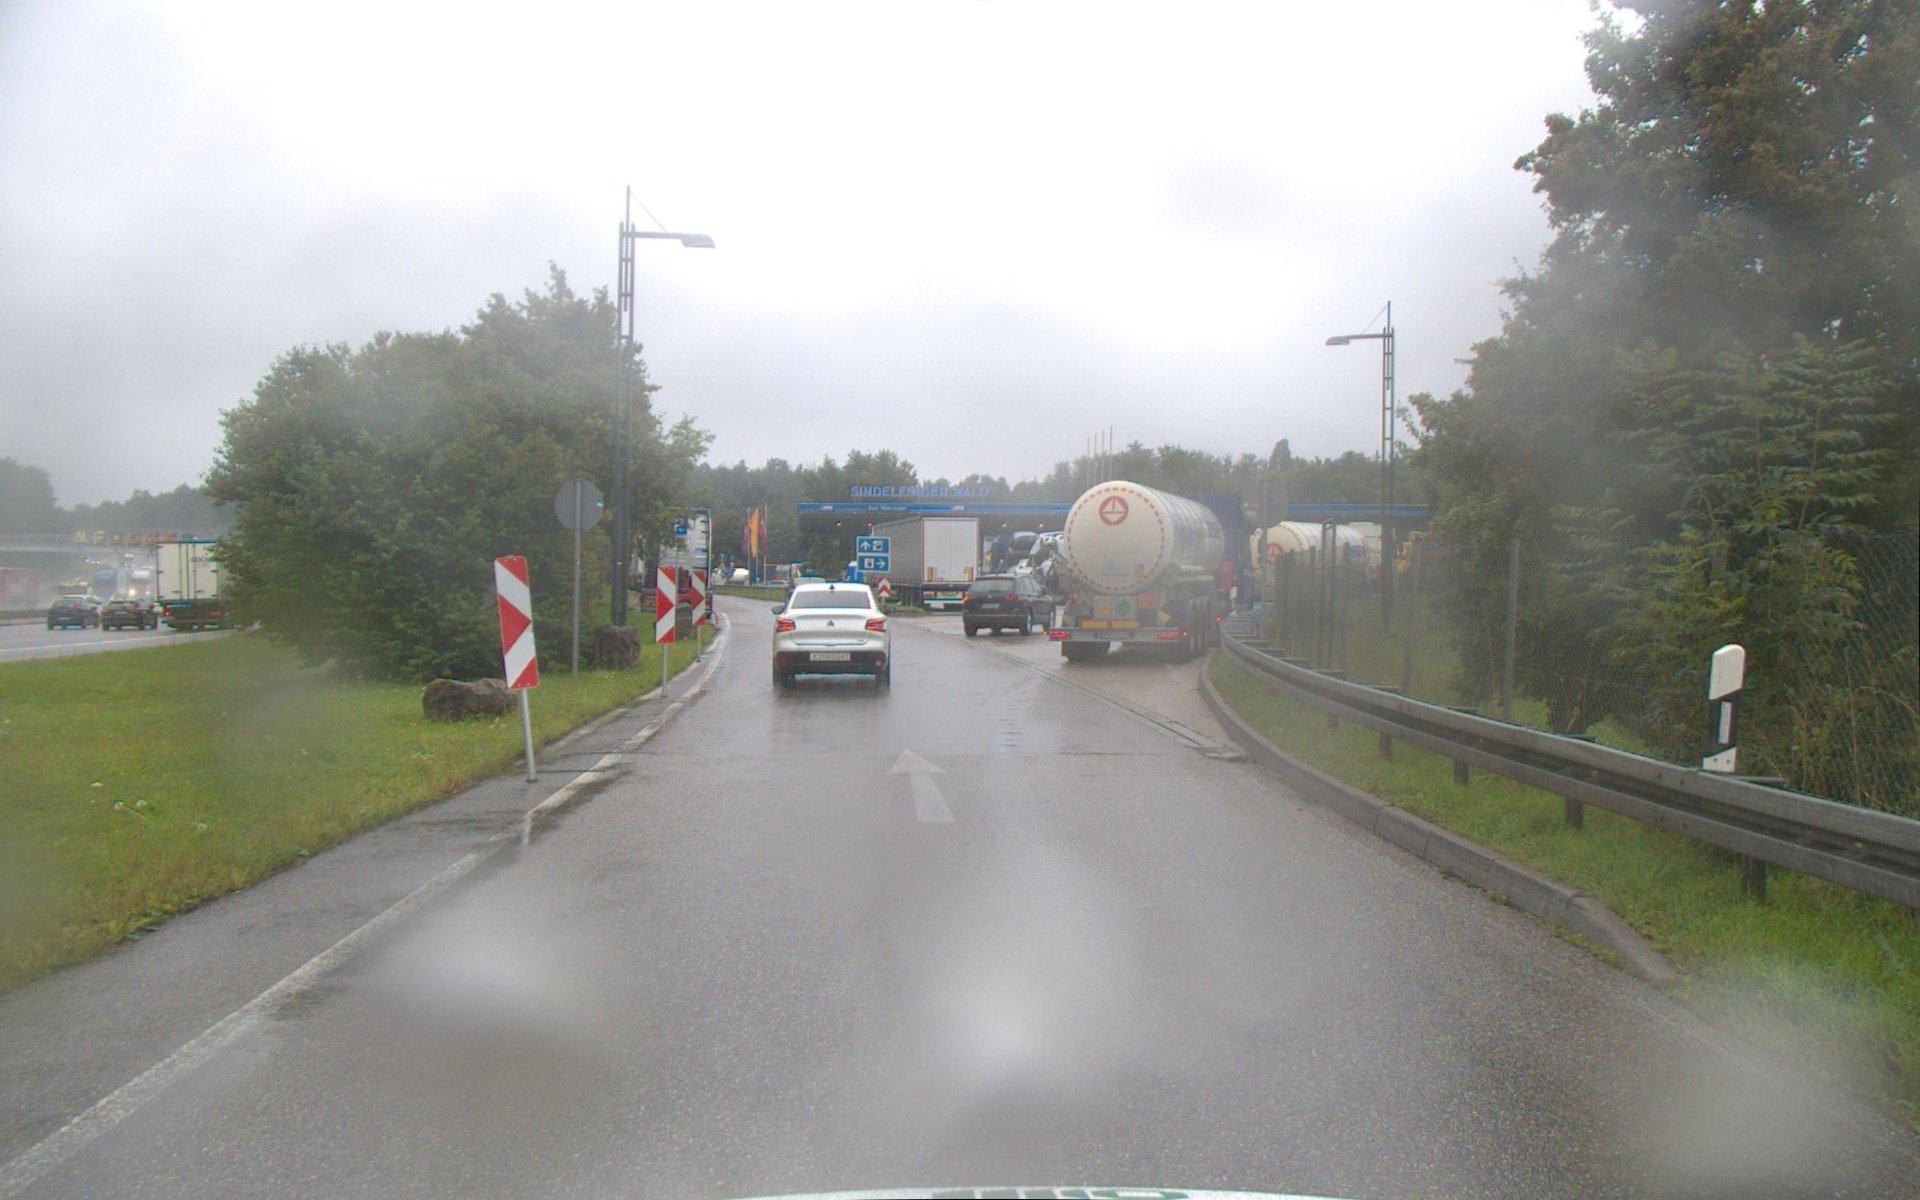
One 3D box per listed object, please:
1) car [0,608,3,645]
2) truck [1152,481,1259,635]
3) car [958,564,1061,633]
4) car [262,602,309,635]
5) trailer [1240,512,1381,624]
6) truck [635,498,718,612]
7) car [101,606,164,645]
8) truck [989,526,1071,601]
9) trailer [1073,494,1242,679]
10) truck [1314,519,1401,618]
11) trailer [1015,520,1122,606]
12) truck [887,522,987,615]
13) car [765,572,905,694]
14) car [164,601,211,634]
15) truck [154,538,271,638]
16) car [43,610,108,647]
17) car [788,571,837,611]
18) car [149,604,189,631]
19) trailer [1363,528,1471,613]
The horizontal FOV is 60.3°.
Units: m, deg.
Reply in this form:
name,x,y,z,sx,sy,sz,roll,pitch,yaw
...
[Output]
name,x,y,z,sx,sy,sz,roll,pitch,yaw
car,-45.601,1.234,75.891,1.745,1.766,4.086,0,0,-13
truck,6.160,-1.012,41.066,2.009,3.592,4.749,1,1,16
car,1.404,-0.010,45.215,1.706,1.696,4.001,2,-1,18
car,-39.938,1.097,98.004,1.959,1.847,3.986,2,-1,-14
trailer,12.245,-1.080,56.934,2.090,3.500,10.240,0,1,28
truck,-10.531,-1.623,61.052,2.863,3.972,6.299,0,1,-11
car,-38.716,1.198,77.442,1.745,1.766,3.834,0,-1,-13
truck,4.089,-2.194,99.085,3.175,4.261,8.425,1,1,-10
trailer,4.362,-0.303,34.555,1.938,3.281,10.329,1,1,15
truck,15.005,-1.184,62.298,2.105,3.574,4.640,0,1,28
trailer,5.699,-1.991,89.268,3.157,4.262,11.504,1,1,-10
truck,-1.236,-1.453,76.462,2.329,3.941,12.419,0,1,-12
car,-1.835,0.484,25.257,1.953,1.709,3.998,0,-1,-2
car,-51.742,1.144,110.847,1.960,2.049,3.986,4,-1,-13
truck,-35.122,-0.446,78.226,2.800,4.368,11.800,0,-1,-13
car,-43.685,1.379,81.760,1.745,1.766,4.087,-1,0,-12
car,-5.768,-0.345,64.775,1.842,1.487,3.996,1,0,-5
car,-60.302,1.344,126.107,1.959,2.049,3.986,0,0,-14
trailer,19.658,-1.280,70.861,2.145,3.451,7.539,0,1,34
